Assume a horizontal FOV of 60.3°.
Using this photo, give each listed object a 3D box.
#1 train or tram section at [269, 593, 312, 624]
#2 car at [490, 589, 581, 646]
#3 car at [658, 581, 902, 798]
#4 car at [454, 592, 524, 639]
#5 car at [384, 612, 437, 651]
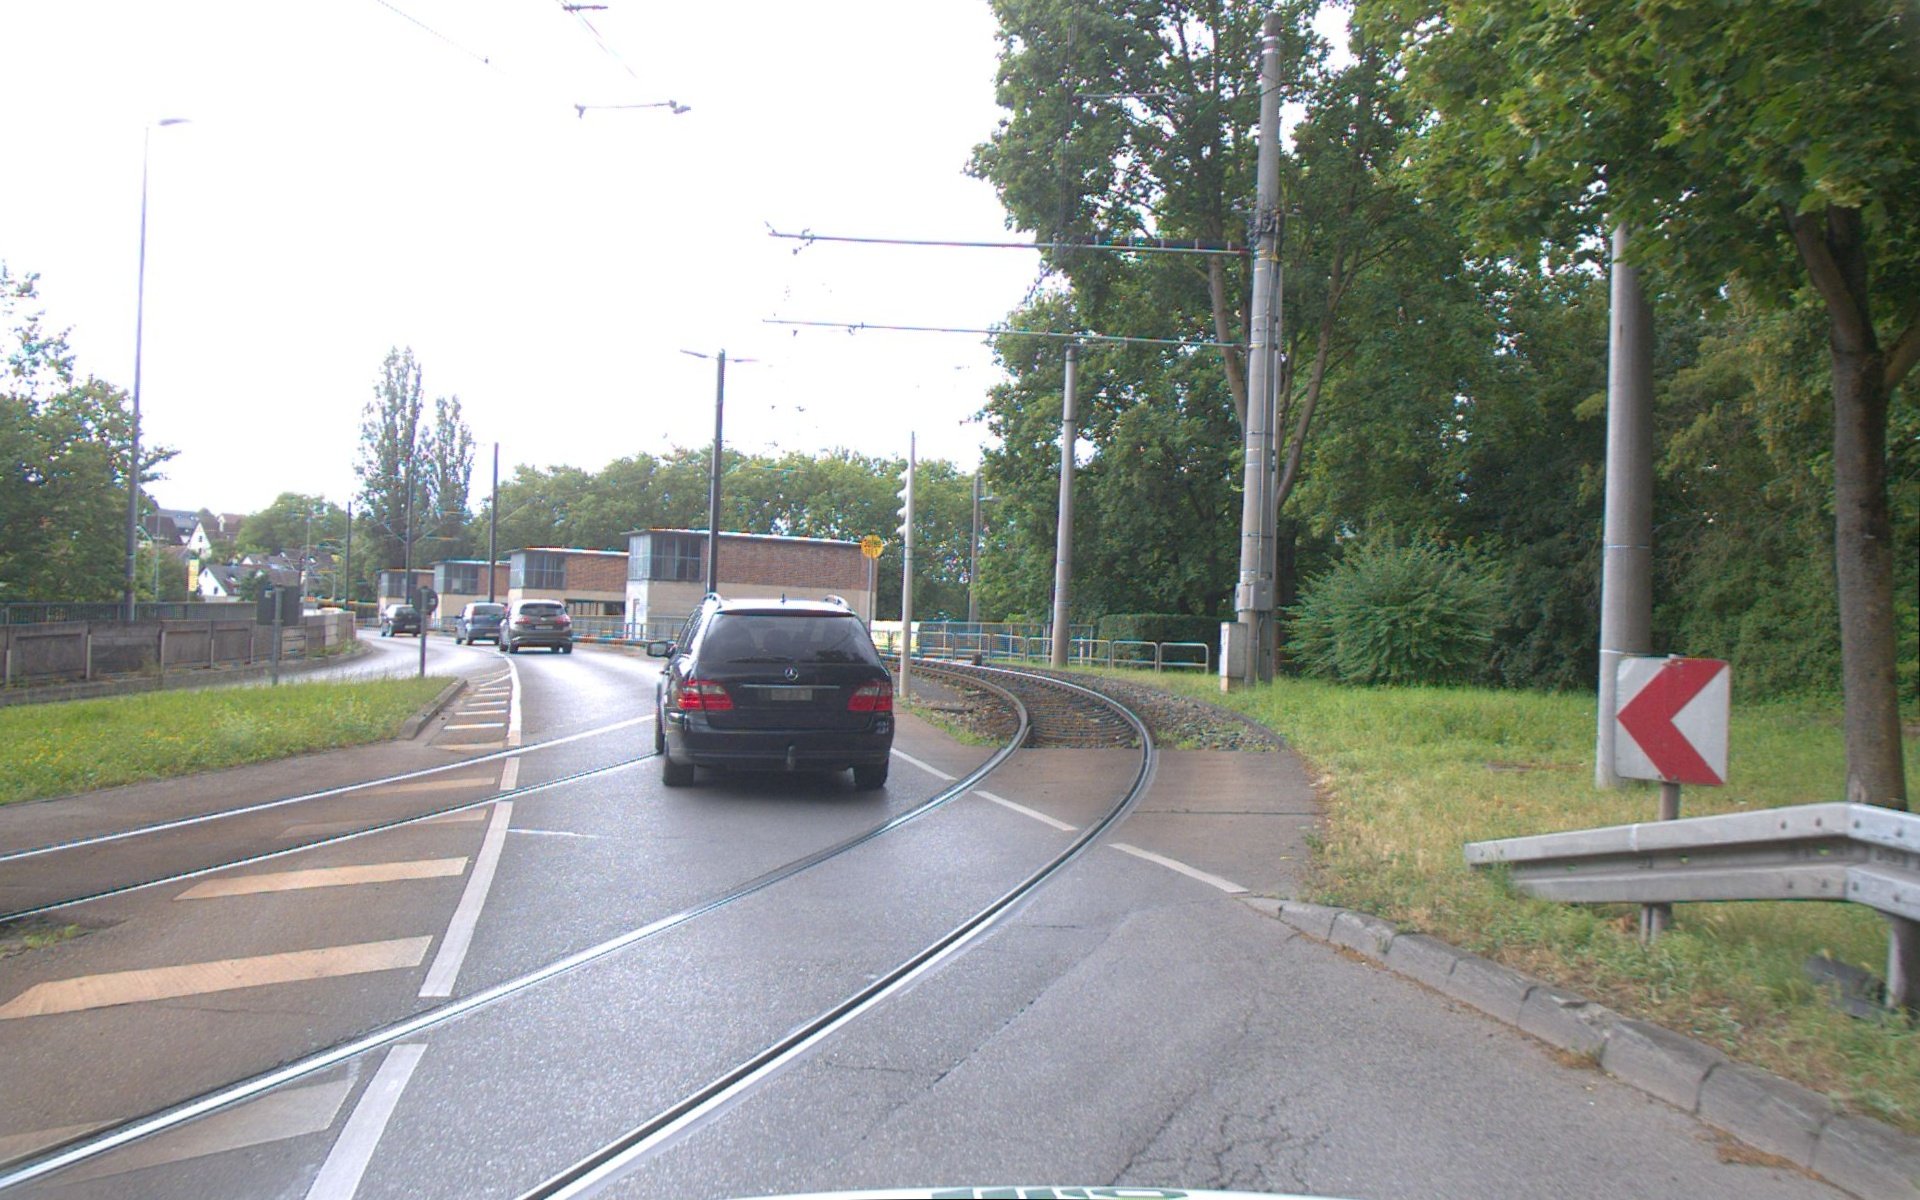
[{"bbox_3d":[-80.667,1.125,199.032,2.850,3.571,18.487,0,-1,-28],"label":"train or tram section"},{"bbox_3d":[-12.522,0.501,48.621,1.749,1.583,4.204,1,-1,-26],"label":"car"},{"bbox_3d":[-1.568,0.638,14.094,1.726,1.542,4.435,1,0,-7],"label":"car"},{"bbox_3d":[-17.234,0.532,60.352,1.966,1.591,4.964,-1,1,-22],"label":"car"},{"bbox_3d":[-25.476,1.436,76.581,1.967,1.702,4.508,0,0,-23],"label":"car"}]
